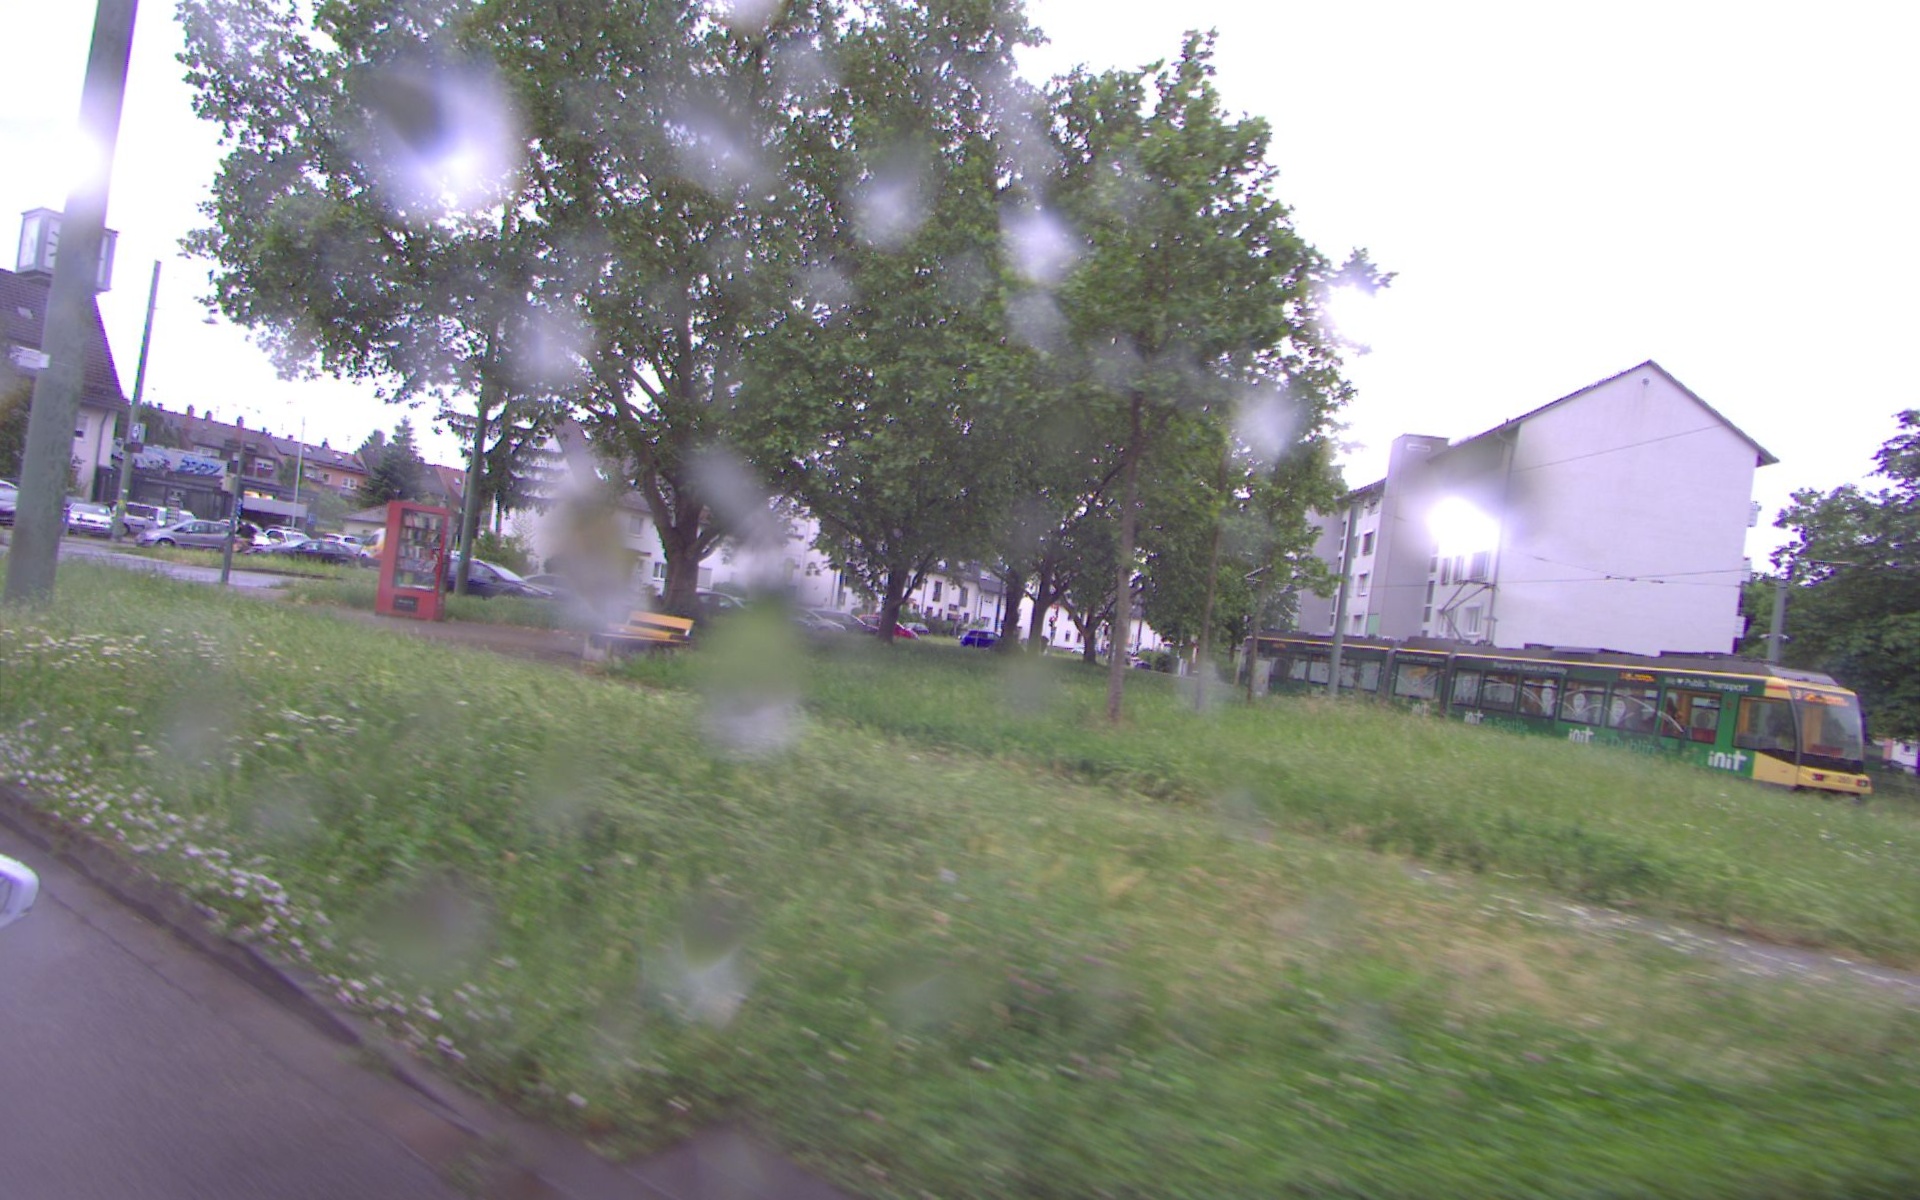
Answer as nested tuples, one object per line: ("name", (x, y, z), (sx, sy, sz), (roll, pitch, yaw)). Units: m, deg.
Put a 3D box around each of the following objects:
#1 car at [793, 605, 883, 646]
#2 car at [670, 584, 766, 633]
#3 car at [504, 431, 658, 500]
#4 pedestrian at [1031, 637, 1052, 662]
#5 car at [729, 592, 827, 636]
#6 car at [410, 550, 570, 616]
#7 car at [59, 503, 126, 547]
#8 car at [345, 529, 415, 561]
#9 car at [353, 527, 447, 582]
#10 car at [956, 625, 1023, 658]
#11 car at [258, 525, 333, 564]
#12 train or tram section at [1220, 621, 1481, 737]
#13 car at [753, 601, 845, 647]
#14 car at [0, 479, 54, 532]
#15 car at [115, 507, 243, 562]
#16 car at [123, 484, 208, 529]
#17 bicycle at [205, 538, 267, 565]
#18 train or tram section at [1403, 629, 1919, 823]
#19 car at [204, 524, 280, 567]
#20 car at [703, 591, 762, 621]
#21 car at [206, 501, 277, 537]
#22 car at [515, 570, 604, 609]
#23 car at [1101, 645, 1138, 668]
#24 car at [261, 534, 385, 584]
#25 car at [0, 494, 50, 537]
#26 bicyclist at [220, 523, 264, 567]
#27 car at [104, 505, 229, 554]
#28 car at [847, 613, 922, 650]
("car", (-5.874, 1.256, 48.869), (4.047, 1.497, 1.867), (6, -1, -2))
("car", (-9.725, 0.375, 40.647), (3.454, 1.523, 1.755), (6, -2, -6))
("car", (-12.945, -4.593, 34.547), (4.464, 1.494, 1.805), (8, -1, 4))
("pedestrian", (6.012, 3.656, 74.160), (1.029, 1.734, 1.080), (6, -1, 26))
("car", (-7.818, 0.623, 43.491), (3.929, 1.518, 1.824), (5, -2, -7))
("car", (-14.980, -0.508, 32.212), (4.100, 1.494, 1.805), (8, -1, 0))
("car", (-37.903, -3.275, 43.913), (1.825, 1.520, 4.008), (11, -4, -44))
("car", (-41.238, -3.893, 71.638), (1.760, 1.599, 4.452), (7, -2, 9))
("car", (-32.087, -2.618, 57.610), (5.061, 2.432, 2.152), (7, -3, 30))
("car", (1.798, 2.544, 62.152), (3.927, 1.501, 1.999), (7, 0, -1))
("car", (-33.898, -2.843, 51.304), (3.780, 1.411, 1.721), (7, -3, 34))
("train or tram section", (16.183, 3.055, 43.967), (2.672, 3.630, 14.711), (9, -2, -11))
("car", (-7.315, 1.113, 45.916), (3.931, 1.570, 1.960), (7, -3, -8))
("car", (-43.196, -4.404, 44.268), (1.967, 2.037, 4.439), (6, -2, 32))
("car", (-32.016, -2.657, 41.340), (1.693, 1.520, 3.644), (7, -3, 29))
("car", (-36.755, -4.326, 46.514), (3.808, 1.598, 1.804), (7, 0, 32))
("bicycle", (-29.930, -1.996, 41.602), (0.926, 0.796, 1.818), (7, -1, 28))
("train or tram section", (18.886, 3.019, 29.524), (2.670, 3.630, 14.718), (9, -2, -9))
("car", (-35.342, -2.674, 49.494), (3.559, 1.590, 1.721), (7, -3, 34))
("car", (-15.707, 0.419, 69.565), (1.579, 1.439, 3.943), (7, -4, 30))
("car", (-43.551, -4.913, 60.994), (3.930, 1.514, 1.788), (7, -3, 28))
("car", (-21.391, -0.542, 53.908), (1.965, 1.493, 3.996), (7, -1, 29))
("car", (14.292, 5.050, 89.821), (1.928, 1.570, 3.998), (5, -3, 29))
("car", (-28.842, -1.834, 45.690), (1.693, 1.352, 4.391), (7, -4, 29))
("car", (-39.398, -3.568, 41.491), (1.816, 1.520, 4.027), (10, -3, -31))
("bicyclist", (-29.799, -2.279, 41.770), (0.933, 1.617, 1.041), (7, 0, 29))
("car", (-39.468, -3.479, 50.146), (1.731, 1.707, 4.439), (6, -2, 32))
("car", (-3.849, 1.642, 51.647), (3.530, 1.497, 1.639), (6, -1, 4))
